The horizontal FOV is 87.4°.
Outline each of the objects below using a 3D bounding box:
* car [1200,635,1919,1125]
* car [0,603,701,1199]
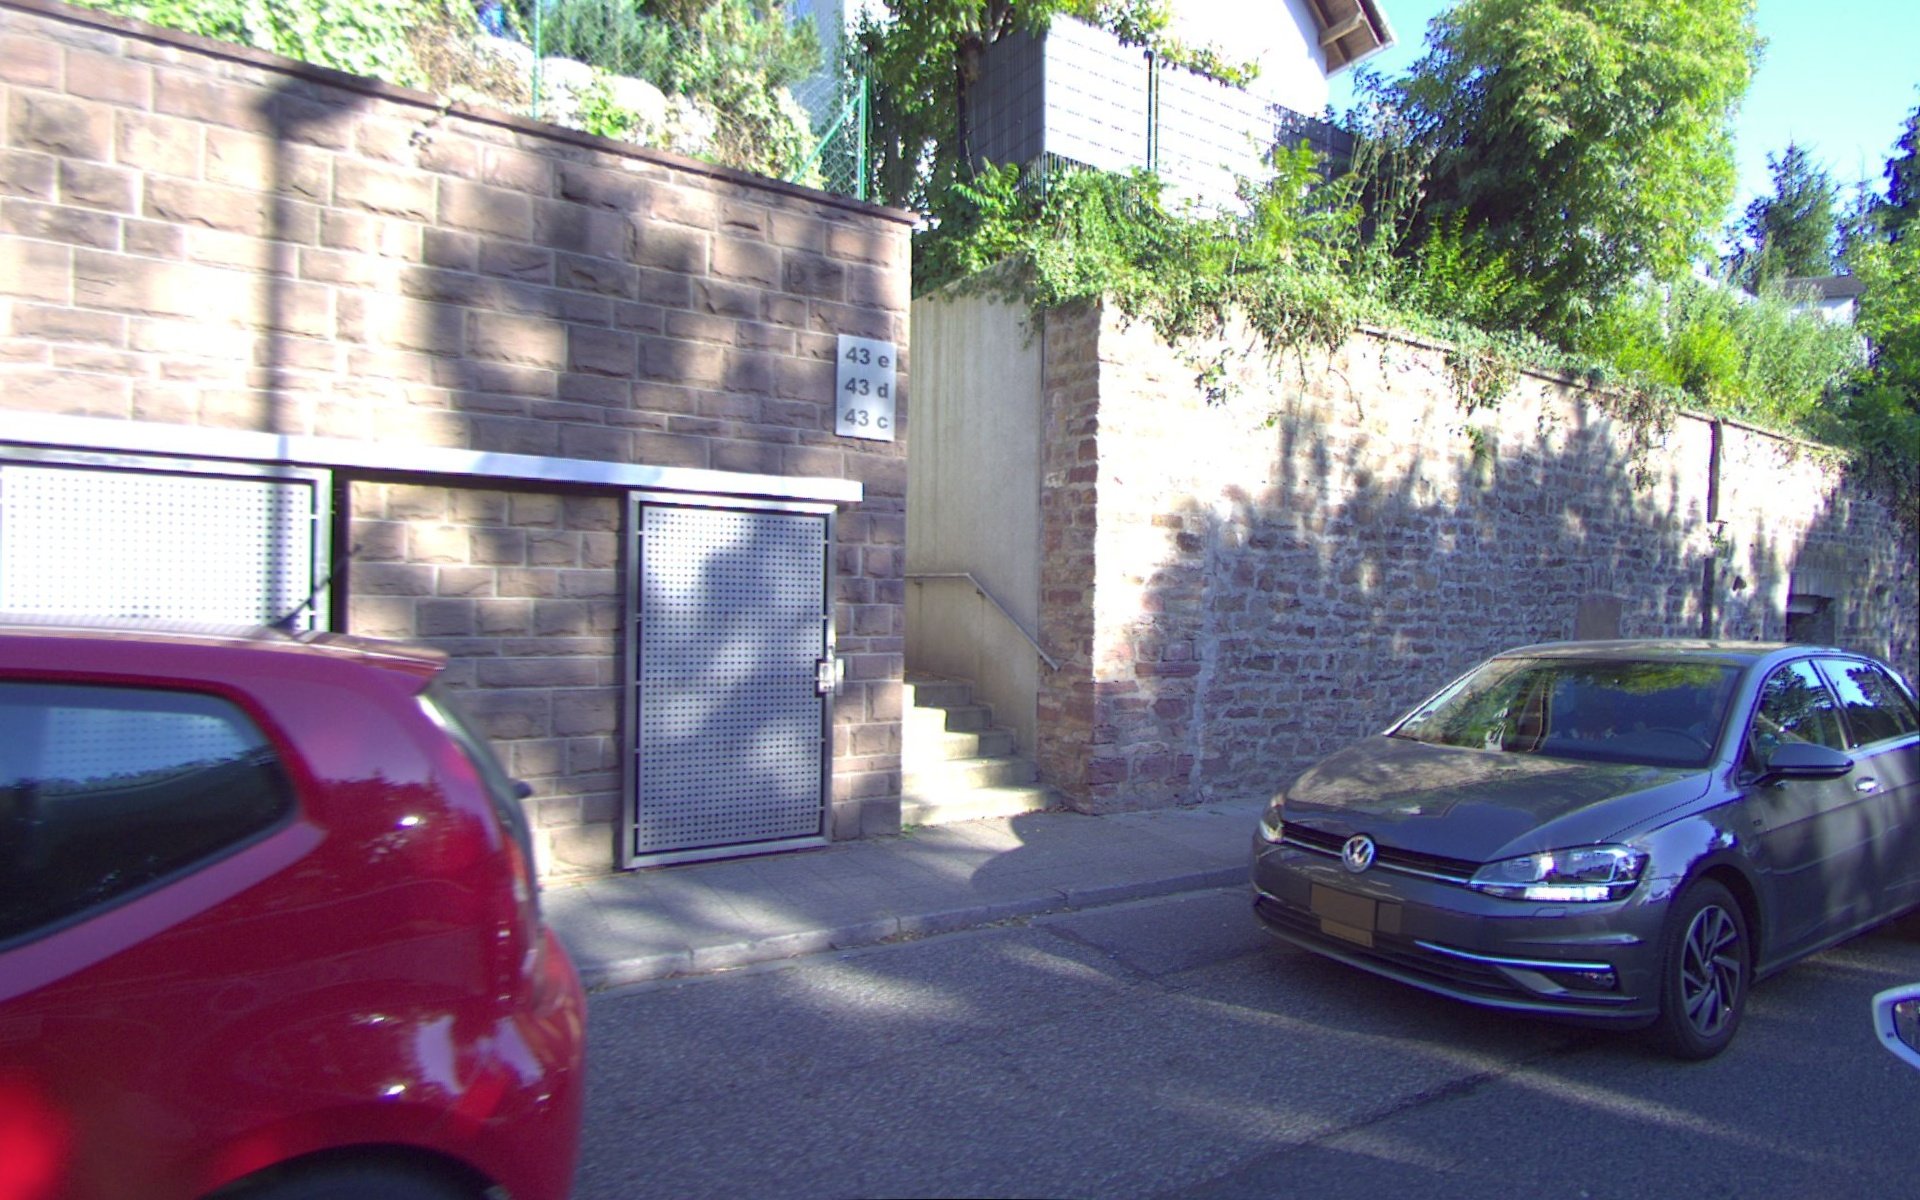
[{"bbox_3d":[3.128,0.902,4.719,3.886,1.429,1.641,2,-2,-31],"label":"car"},{"bbox_3d":[-2.401,0.718,1.617,3.524,1.440,1.618,2,-2,-33],"label":"car"}]
